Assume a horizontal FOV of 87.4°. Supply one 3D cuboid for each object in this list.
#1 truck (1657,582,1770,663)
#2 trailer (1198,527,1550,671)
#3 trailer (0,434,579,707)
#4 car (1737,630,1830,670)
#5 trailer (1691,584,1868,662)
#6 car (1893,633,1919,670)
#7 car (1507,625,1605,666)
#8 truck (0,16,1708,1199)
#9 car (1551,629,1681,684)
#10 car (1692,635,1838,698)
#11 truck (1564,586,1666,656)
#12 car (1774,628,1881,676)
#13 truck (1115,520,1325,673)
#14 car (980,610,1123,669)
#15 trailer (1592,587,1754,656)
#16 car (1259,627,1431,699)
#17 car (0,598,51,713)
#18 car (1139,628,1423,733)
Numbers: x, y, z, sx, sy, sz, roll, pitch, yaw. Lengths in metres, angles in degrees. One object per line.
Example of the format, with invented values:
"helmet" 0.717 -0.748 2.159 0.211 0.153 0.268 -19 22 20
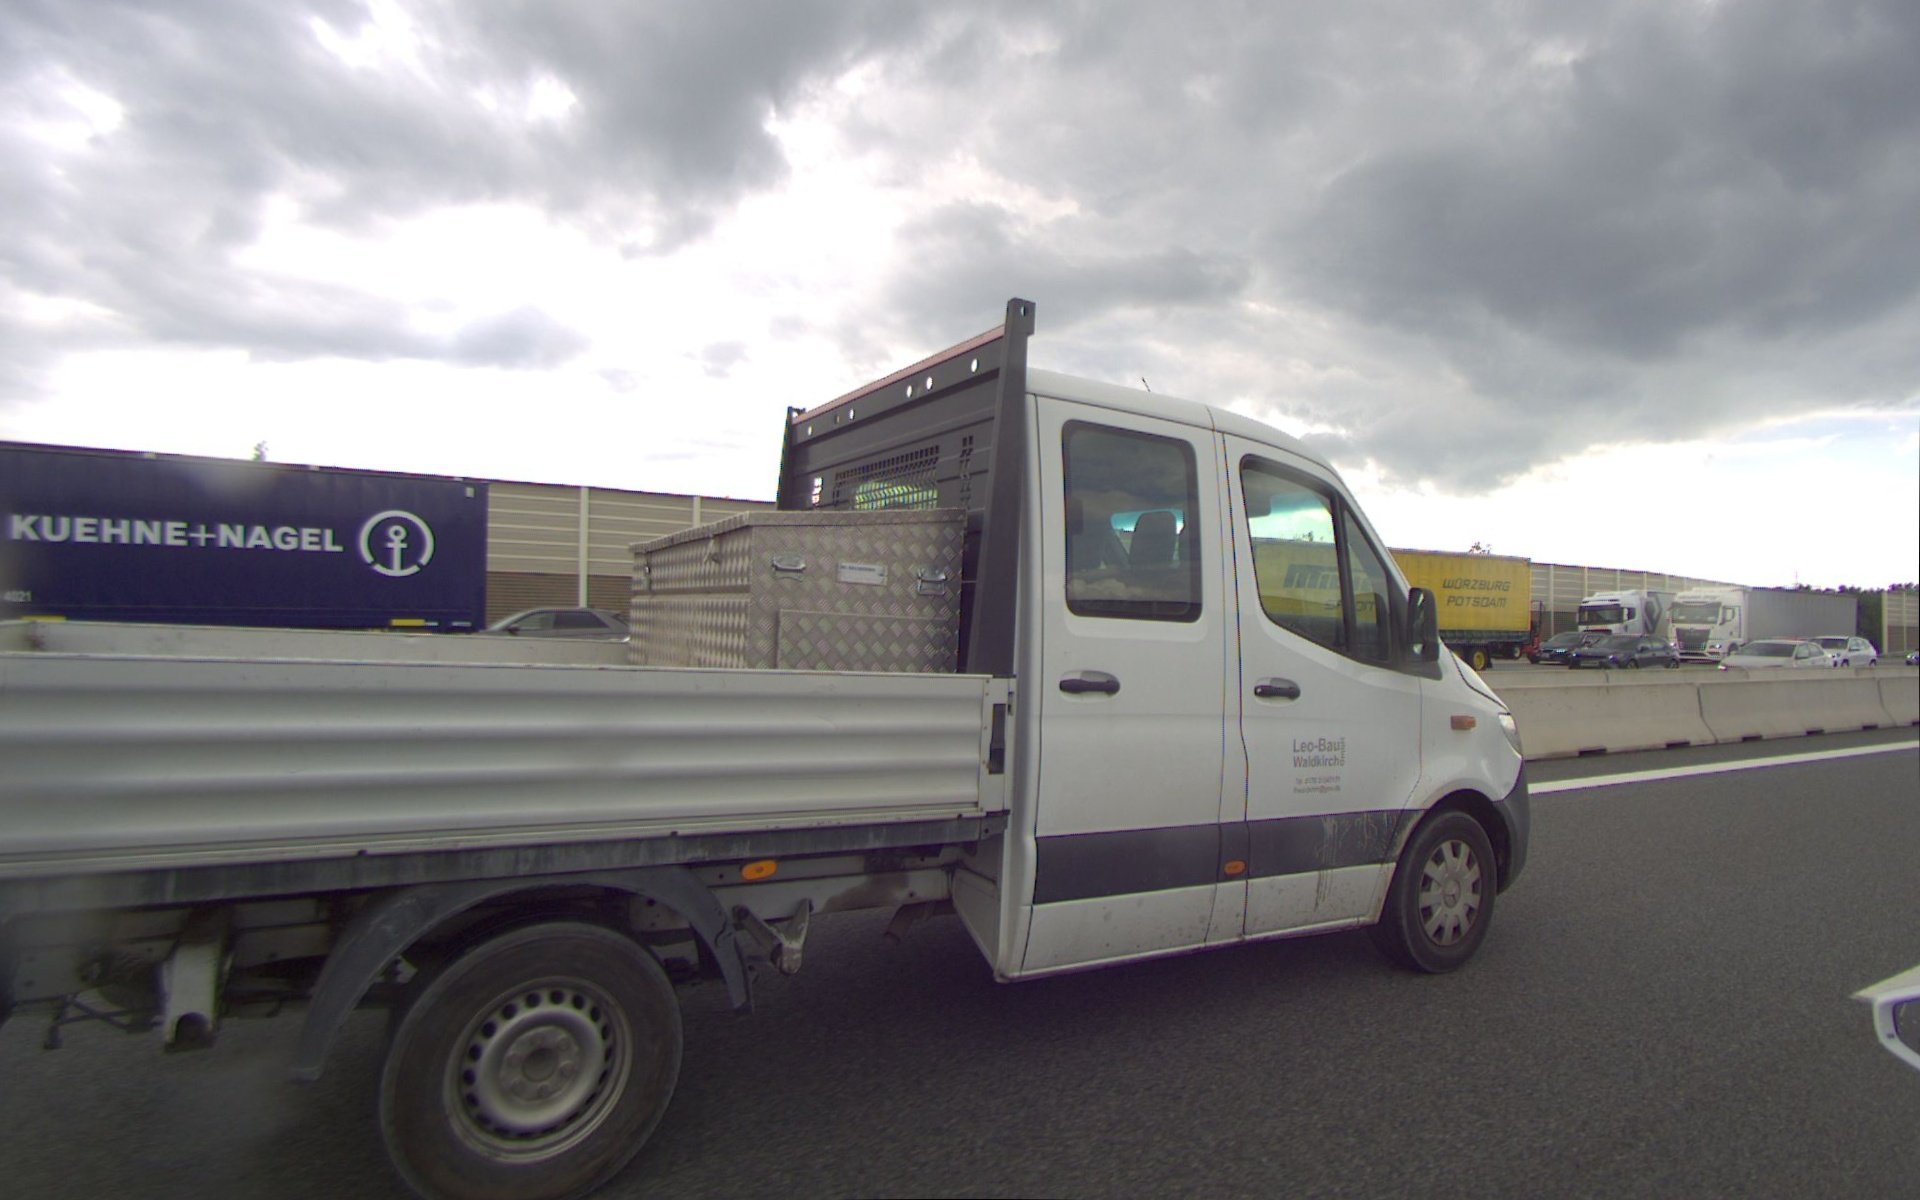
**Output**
"truck" 39.784 1.201 53.039 5.657 4.088 2.732 2 -1 -29
"trailer" 14.146 0.187 33.299 14.285 4.085 2.748 2 -1 -31
"trailer" -12.151 -0.358 17.469 9.998 3.992 2.918 1 -1 -30
"car" 40.211 2.410 49.021 4.724 1.840 2.050 1 -1 -31
"trailer" 46.538 1.397 56.798 14.278 4.085 2.749 2 -1 -29
"car" 46.443 2.446 47.768 4.360 1.722 1.945 1 -1 -31
"car" 27.083 2.050 45.643 4.360 1.722 2.050 1 -1 -31
"truck" 0.052 0.268 4.148 7.064 2.472 2.296 2 -1 -30
"car" 22.303 1.878 34.117 4.360 1.722 2.050 1 -1 -31
"car" 24.099 1.935 30.041 4.360 1.722 2.050 1 -1 -31
"truck" 39.598 1.302 60.707 5.657 4.088 2.904 2 -1 -30
"car" 36.241 2.139 41.952 4.724 1.840 2.050 1 -1 -31
"truck" 7.645 -0.016 29.414 5.659 4.088 2.731 2 -1 -31
"car" 2.933 1.236 32.059 4.163 1.746 2.050 1 -1 -31
"trailer" 45.771 1.463 64.224 13.693 4.085 2.922 2 -1 -29
"car" 10.280 1.621 26.746 4.360 1.722 2.050 1 -1 -31
"car" -19.392 0.927 17.258 5.237 2.029 2.050 1 -1 -31
"car" 6.380 1.477 19.696 5.741 1.778 2.050 1 -1 -31
